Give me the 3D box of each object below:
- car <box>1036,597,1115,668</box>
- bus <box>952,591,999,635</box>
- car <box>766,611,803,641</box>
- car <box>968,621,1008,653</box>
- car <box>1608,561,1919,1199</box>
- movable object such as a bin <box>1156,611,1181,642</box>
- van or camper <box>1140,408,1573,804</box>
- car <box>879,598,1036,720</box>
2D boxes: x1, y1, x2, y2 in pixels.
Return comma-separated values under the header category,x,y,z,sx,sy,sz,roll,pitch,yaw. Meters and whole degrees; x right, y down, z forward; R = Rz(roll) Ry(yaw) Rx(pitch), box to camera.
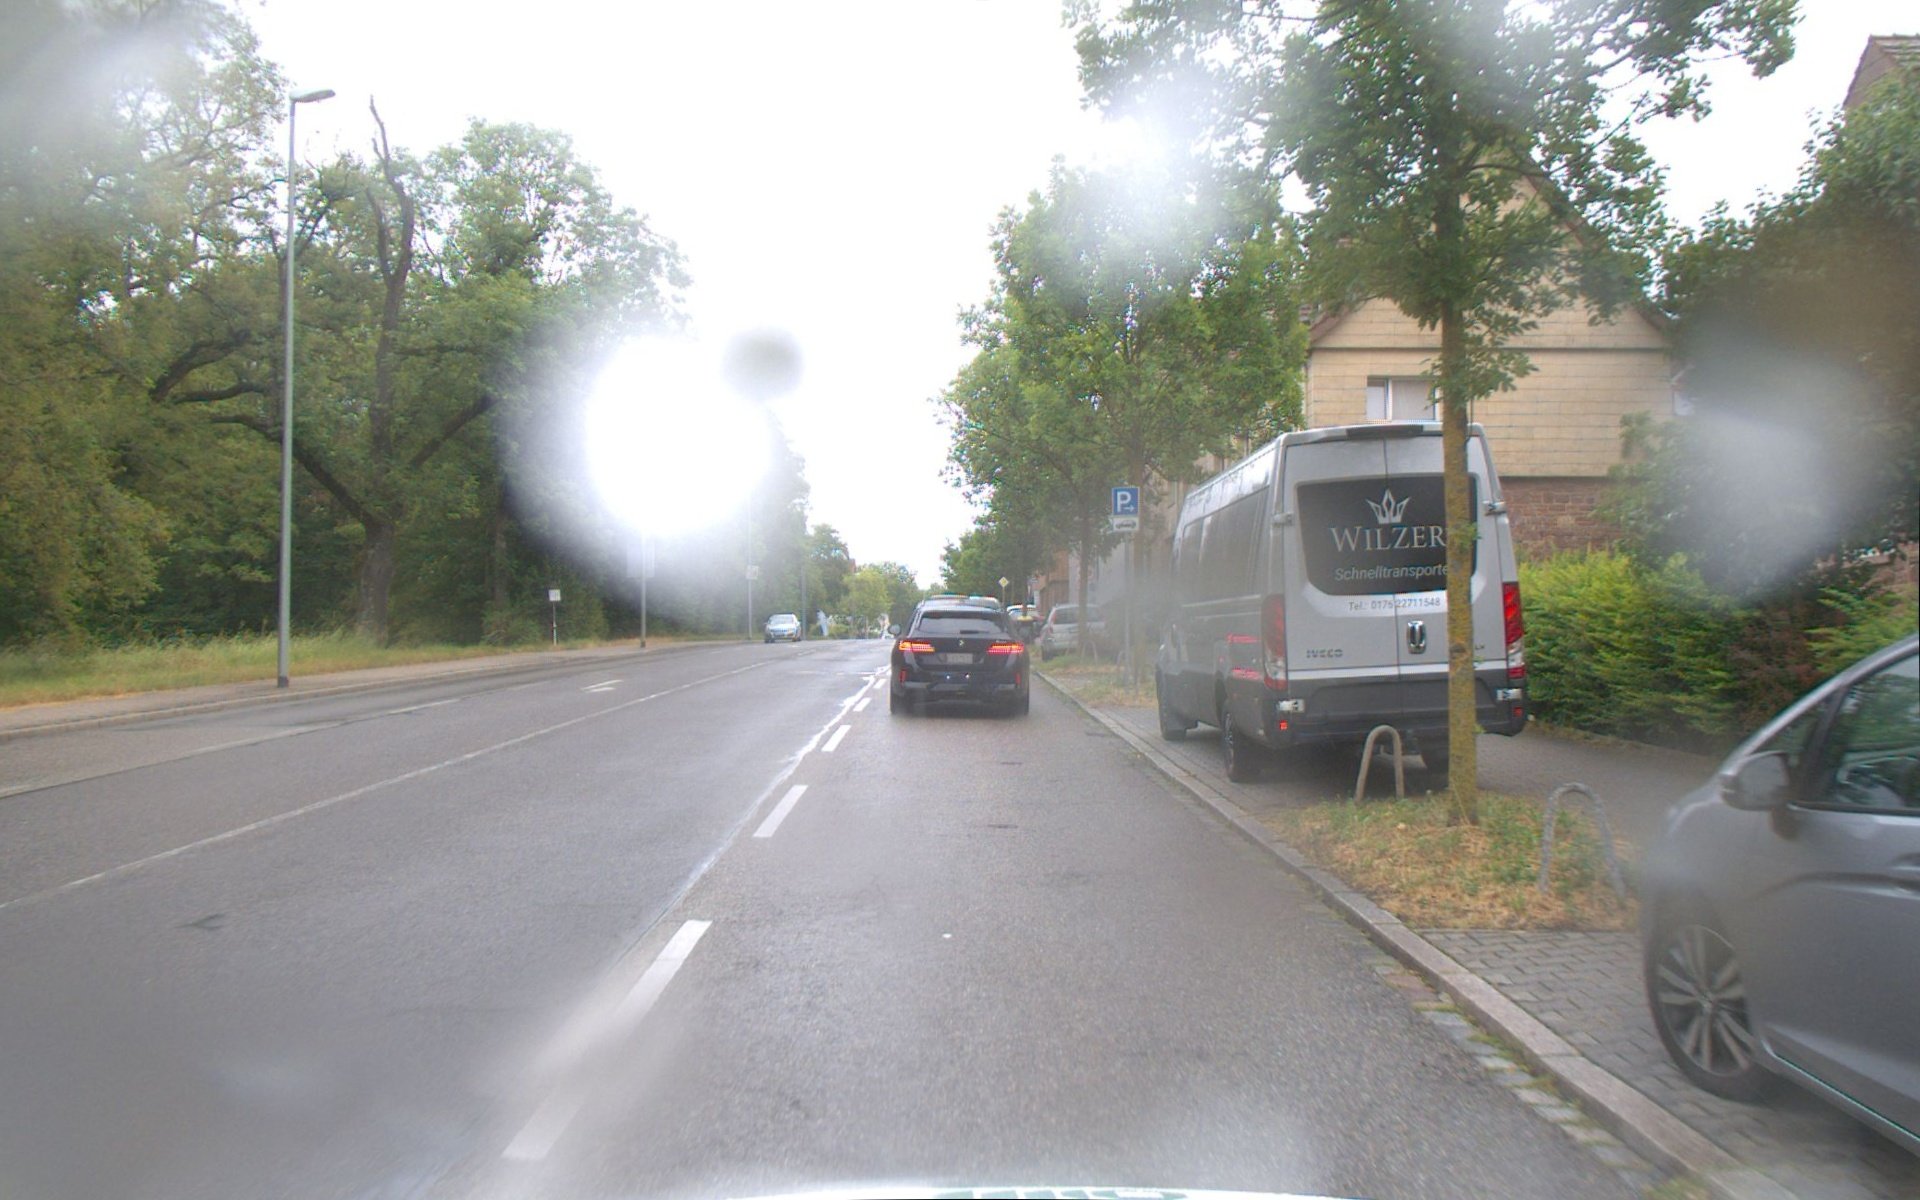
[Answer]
category,x,y,z,sx,sy,sz,roll,pitch,yaw
car,2.969,0.805,43.314,1.667,1.611,4.643,-4,0,1
bus,1.155,0.917,117.357,2.568,2.897,8.293,-2,0,5
car,-9.313,1.372,87.984,1.656,1.509,4.449,-2,-1,-2
car,1.829,2.372,105.977,1.886,1.925,4.764,-4,-2,8
car,2.989,0.659,3.650,1.634,1.555,3.832,-3,0,2
movable object such as a bin,6.881,0.876,54.688,0.686,0.982,0.941,1,0,0
van or camper,3.188,0.023,15.285,2.153,2.697,7.301,-2,0,0
car,-0.061,0.775,23.094,1.953,1.478,3.999,2,-1,-1
